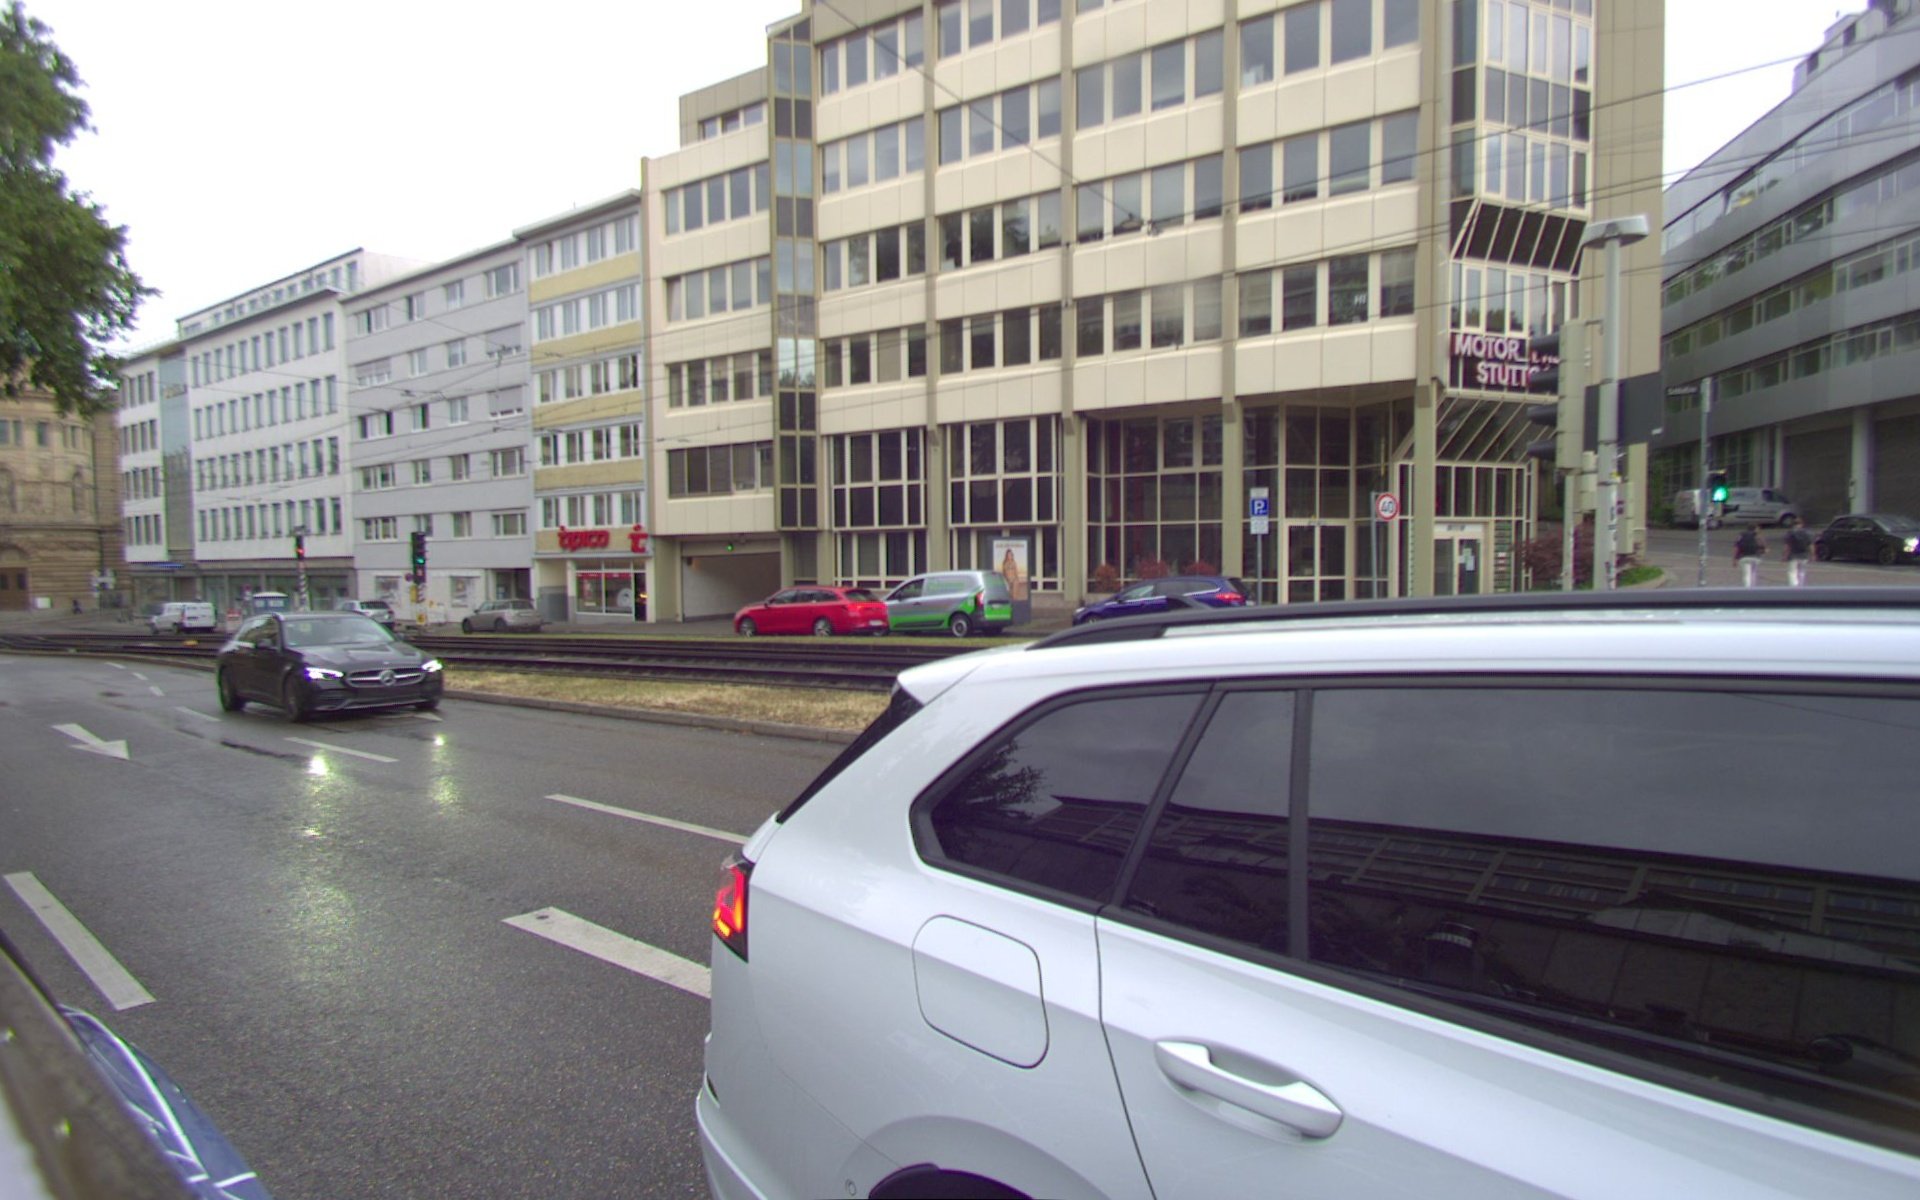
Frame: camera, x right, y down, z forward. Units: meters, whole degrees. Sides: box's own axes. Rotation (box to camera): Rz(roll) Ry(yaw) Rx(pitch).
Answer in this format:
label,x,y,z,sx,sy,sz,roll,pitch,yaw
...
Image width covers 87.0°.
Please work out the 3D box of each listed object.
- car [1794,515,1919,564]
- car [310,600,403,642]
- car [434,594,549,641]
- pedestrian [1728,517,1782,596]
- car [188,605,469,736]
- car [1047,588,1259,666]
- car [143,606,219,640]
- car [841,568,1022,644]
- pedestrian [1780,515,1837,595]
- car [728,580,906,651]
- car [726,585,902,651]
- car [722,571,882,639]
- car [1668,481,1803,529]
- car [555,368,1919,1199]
label,x,y,z,sx,sy,sz,roll,pitch,yaw
car,27.692,-1.829,30.383,1.803,1.374,4.004,-2,3,-3
car,-28.337,1.000,47.452,4.686,1.686,1.977,-2,3,36
car,-18.925,0.656,40.849,4.682,1.686,1.978,0,4,34
pedestrian,18.610,-1.023,23.705,0.804,1.800,0.637,-1,3,18
car,-9.147,0.909,14.510,4.638,1.478,1.974,-2,2,39
car,4.548,0.579,24.080,4.536,1.593,1.978,0,4,34
car,-46.812,1.340,60.766,5.117,1.856,1.978,0,4,34
car,-0.829,0.123,28.015,4.682,1.863,1.978,0,4,34
pedestrian,19.577,-1.040,23.373,0.804,1.800,0.637,-1,3,18
car,-3.790,0.366,26.623,4.403,1.652,1.965,0,3,33
car,-3.871,0.416,26.616,4.315,1.498,1.978,0,4,34
car,-4.859,0.125,30.931,4.682,1.863,1.978,0,4,34
car,37.393,-4.561,48.908,4.779,2.028,1.996,-2,3,8
car,1.339,0.602,1.284,4.251,1.588,1.662,-1,1,41
